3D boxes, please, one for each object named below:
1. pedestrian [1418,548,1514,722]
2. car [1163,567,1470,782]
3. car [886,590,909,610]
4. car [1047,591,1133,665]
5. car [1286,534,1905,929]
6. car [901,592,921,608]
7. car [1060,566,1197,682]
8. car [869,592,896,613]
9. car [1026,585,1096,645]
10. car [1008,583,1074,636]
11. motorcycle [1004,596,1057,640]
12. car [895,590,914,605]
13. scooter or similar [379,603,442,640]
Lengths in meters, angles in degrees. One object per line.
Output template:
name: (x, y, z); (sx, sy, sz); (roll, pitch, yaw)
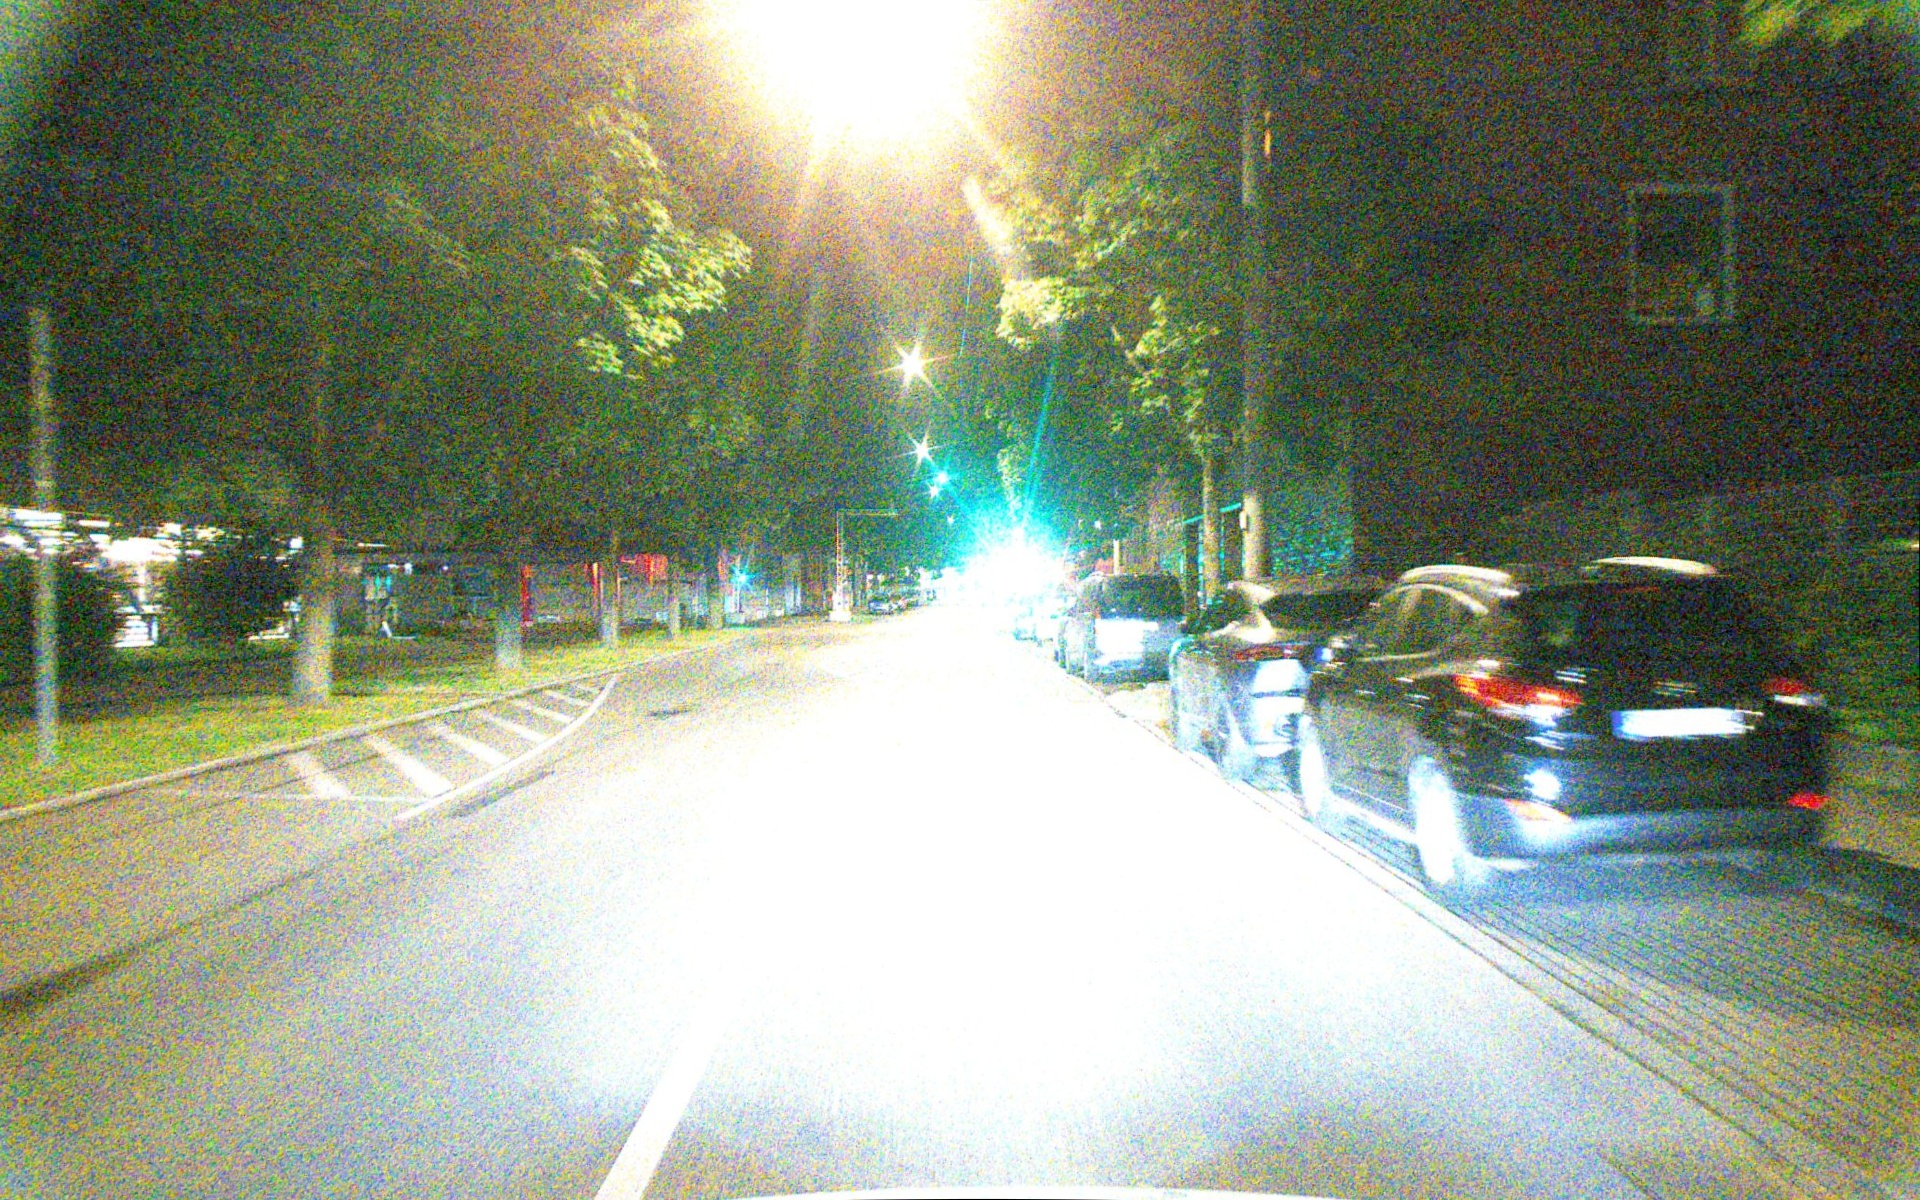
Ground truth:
pedestrian: (5.300, 0.355, 17.361); (0.691, 1.752, 0.821); (-2, 0, -1)
car: (3.037, 0.568, 14.977); (1.815, 1.632, 4.208); (-1, 0, 0)
car: (-4.979, -0.029, 132.477); (1.705, 1.440, 3.752); (0, 2, 0)
car: (2.710, 0.542, 35.056); (1.489, 1.420, 3.984); (-2, 0, 0)
car: (3.249, 0.564, 9.470); (1.816, 1.682, 4.208); (-2, 0, -1)
car: (-4.355, -0.017, 146.687); (1.705, 1.440, 3.752); (0, 0, 0)
car: (2.915, 0.377, 29.497); (1.736, 1.838, 4.275); (-2, 0, -3)
car: (-5.469, 0.151, 117.138); (1.705, 1.440, 3.752); (0, 0, 0)
car: (2.789, 0.380, 46.349); (1.559, 1.561, 4.137); (-2, 1, -1)
car: (2.587, 0.279, 53.714); (1.815, 1.618, 4.299); (-1, 0, -1)
motorcycle: (2.132, 0.529, 49.798); (0.625, 1.292, 2.058); (0, 0, 34)
car: (-5.360, -0.236, 160.207); (1.705, 1.440, 3.752); (0, 0, 0)
scooter or similar: (-16.111, 0.616, 48.487); (1.639, 1.025, 0.544); (2, 0, 1)
